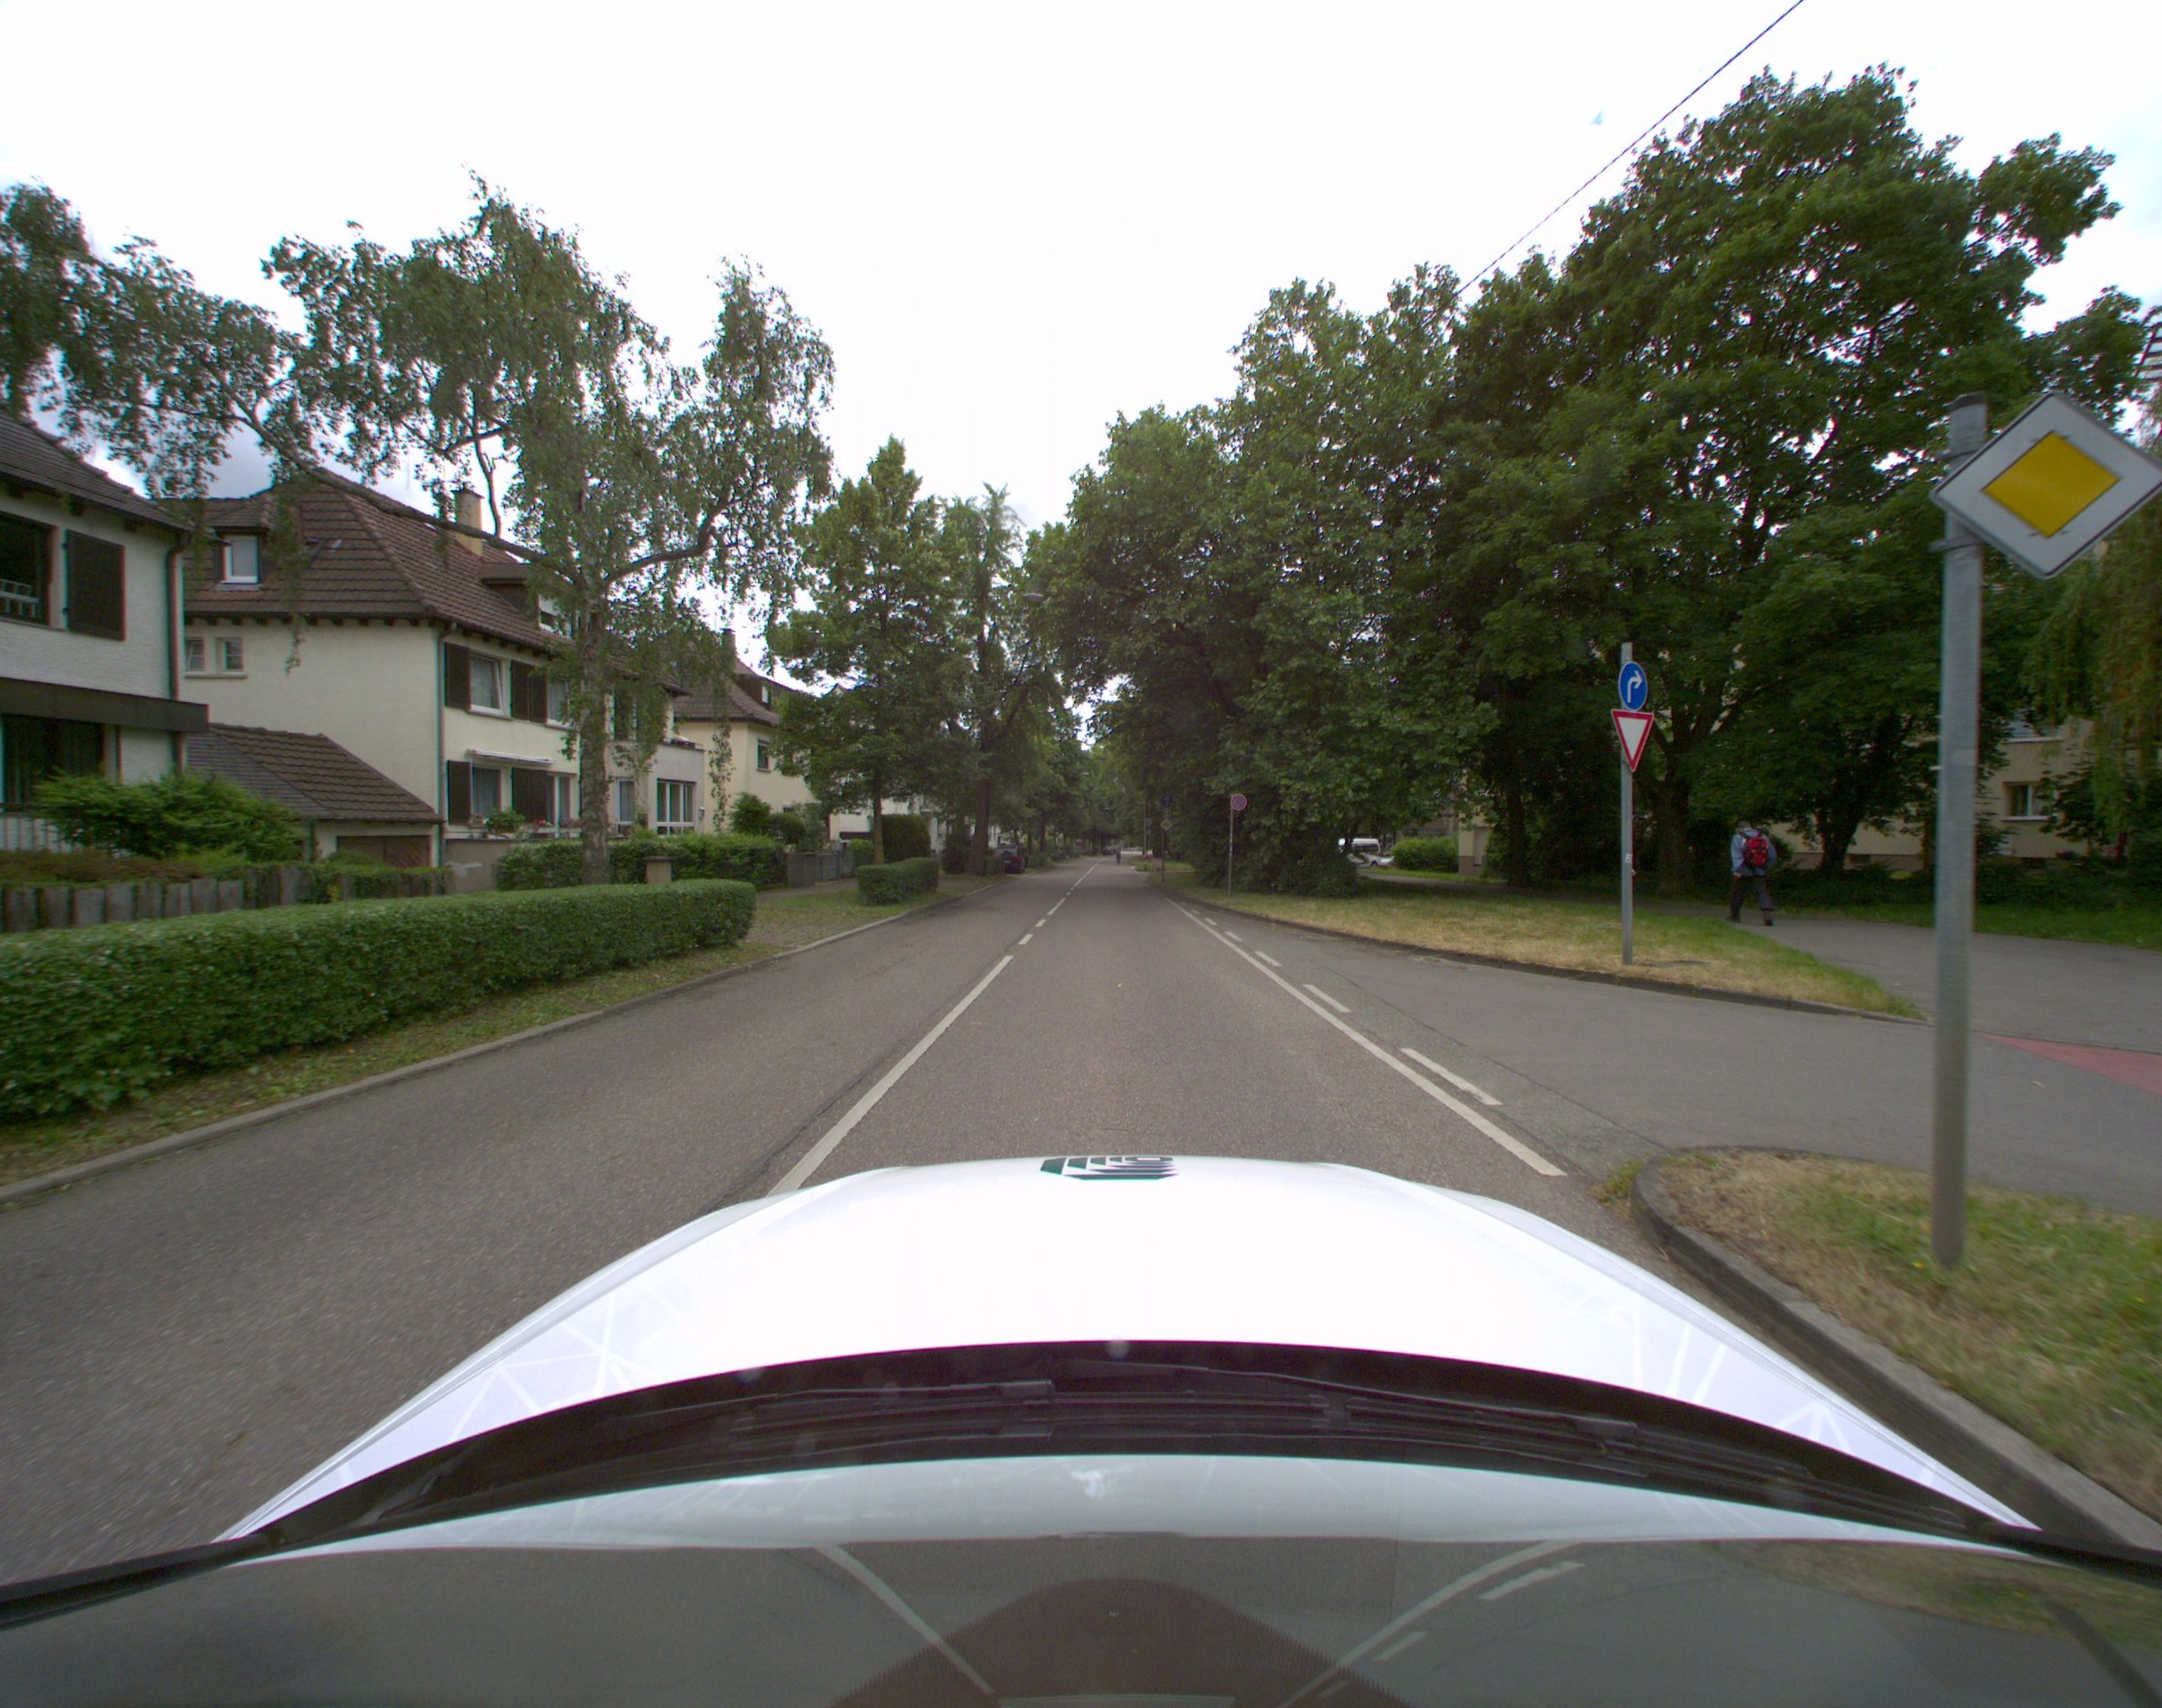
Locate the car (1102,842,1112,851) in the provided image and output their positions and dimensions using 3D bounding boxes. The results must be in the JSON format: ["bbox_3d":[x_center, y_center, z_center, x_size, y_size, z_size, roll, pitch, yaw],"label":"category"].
[{"bbox_3d":[4.938,-1.381,156.120,1.827,1.498,3.658,3,2,2],"label":"car"}]

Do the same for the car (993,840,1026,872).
[{"bbox_3d":[-4.242,0.074,48.688,1.638,1.724,3.798,3,2,-2],"label":"car"}]

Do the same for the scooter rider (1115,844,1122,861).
[{"bbox_3d":[3.485,-0.167,76.373,0.598,1.552,0.567,0,2,4],"label":"scooter rider"}]

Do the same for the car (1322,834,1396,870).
[{"bbox_3d":[20.276,-0.131,59.287,5.405,2.296,2.116,2,3,-33],"label":"car"}]

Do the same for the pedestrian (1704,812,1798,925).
[{"bbox_3d":[11.725,0.232,14.293,0.916,1.871,1.024,-3,3,16],"label":"pedestrian"}]

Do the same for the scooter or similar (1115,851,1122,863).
[{"bbox_3d":[3.493,0.269,76.398,0.598,1.054,0.874,0,2,5],"label":"scooter or similar"}]
